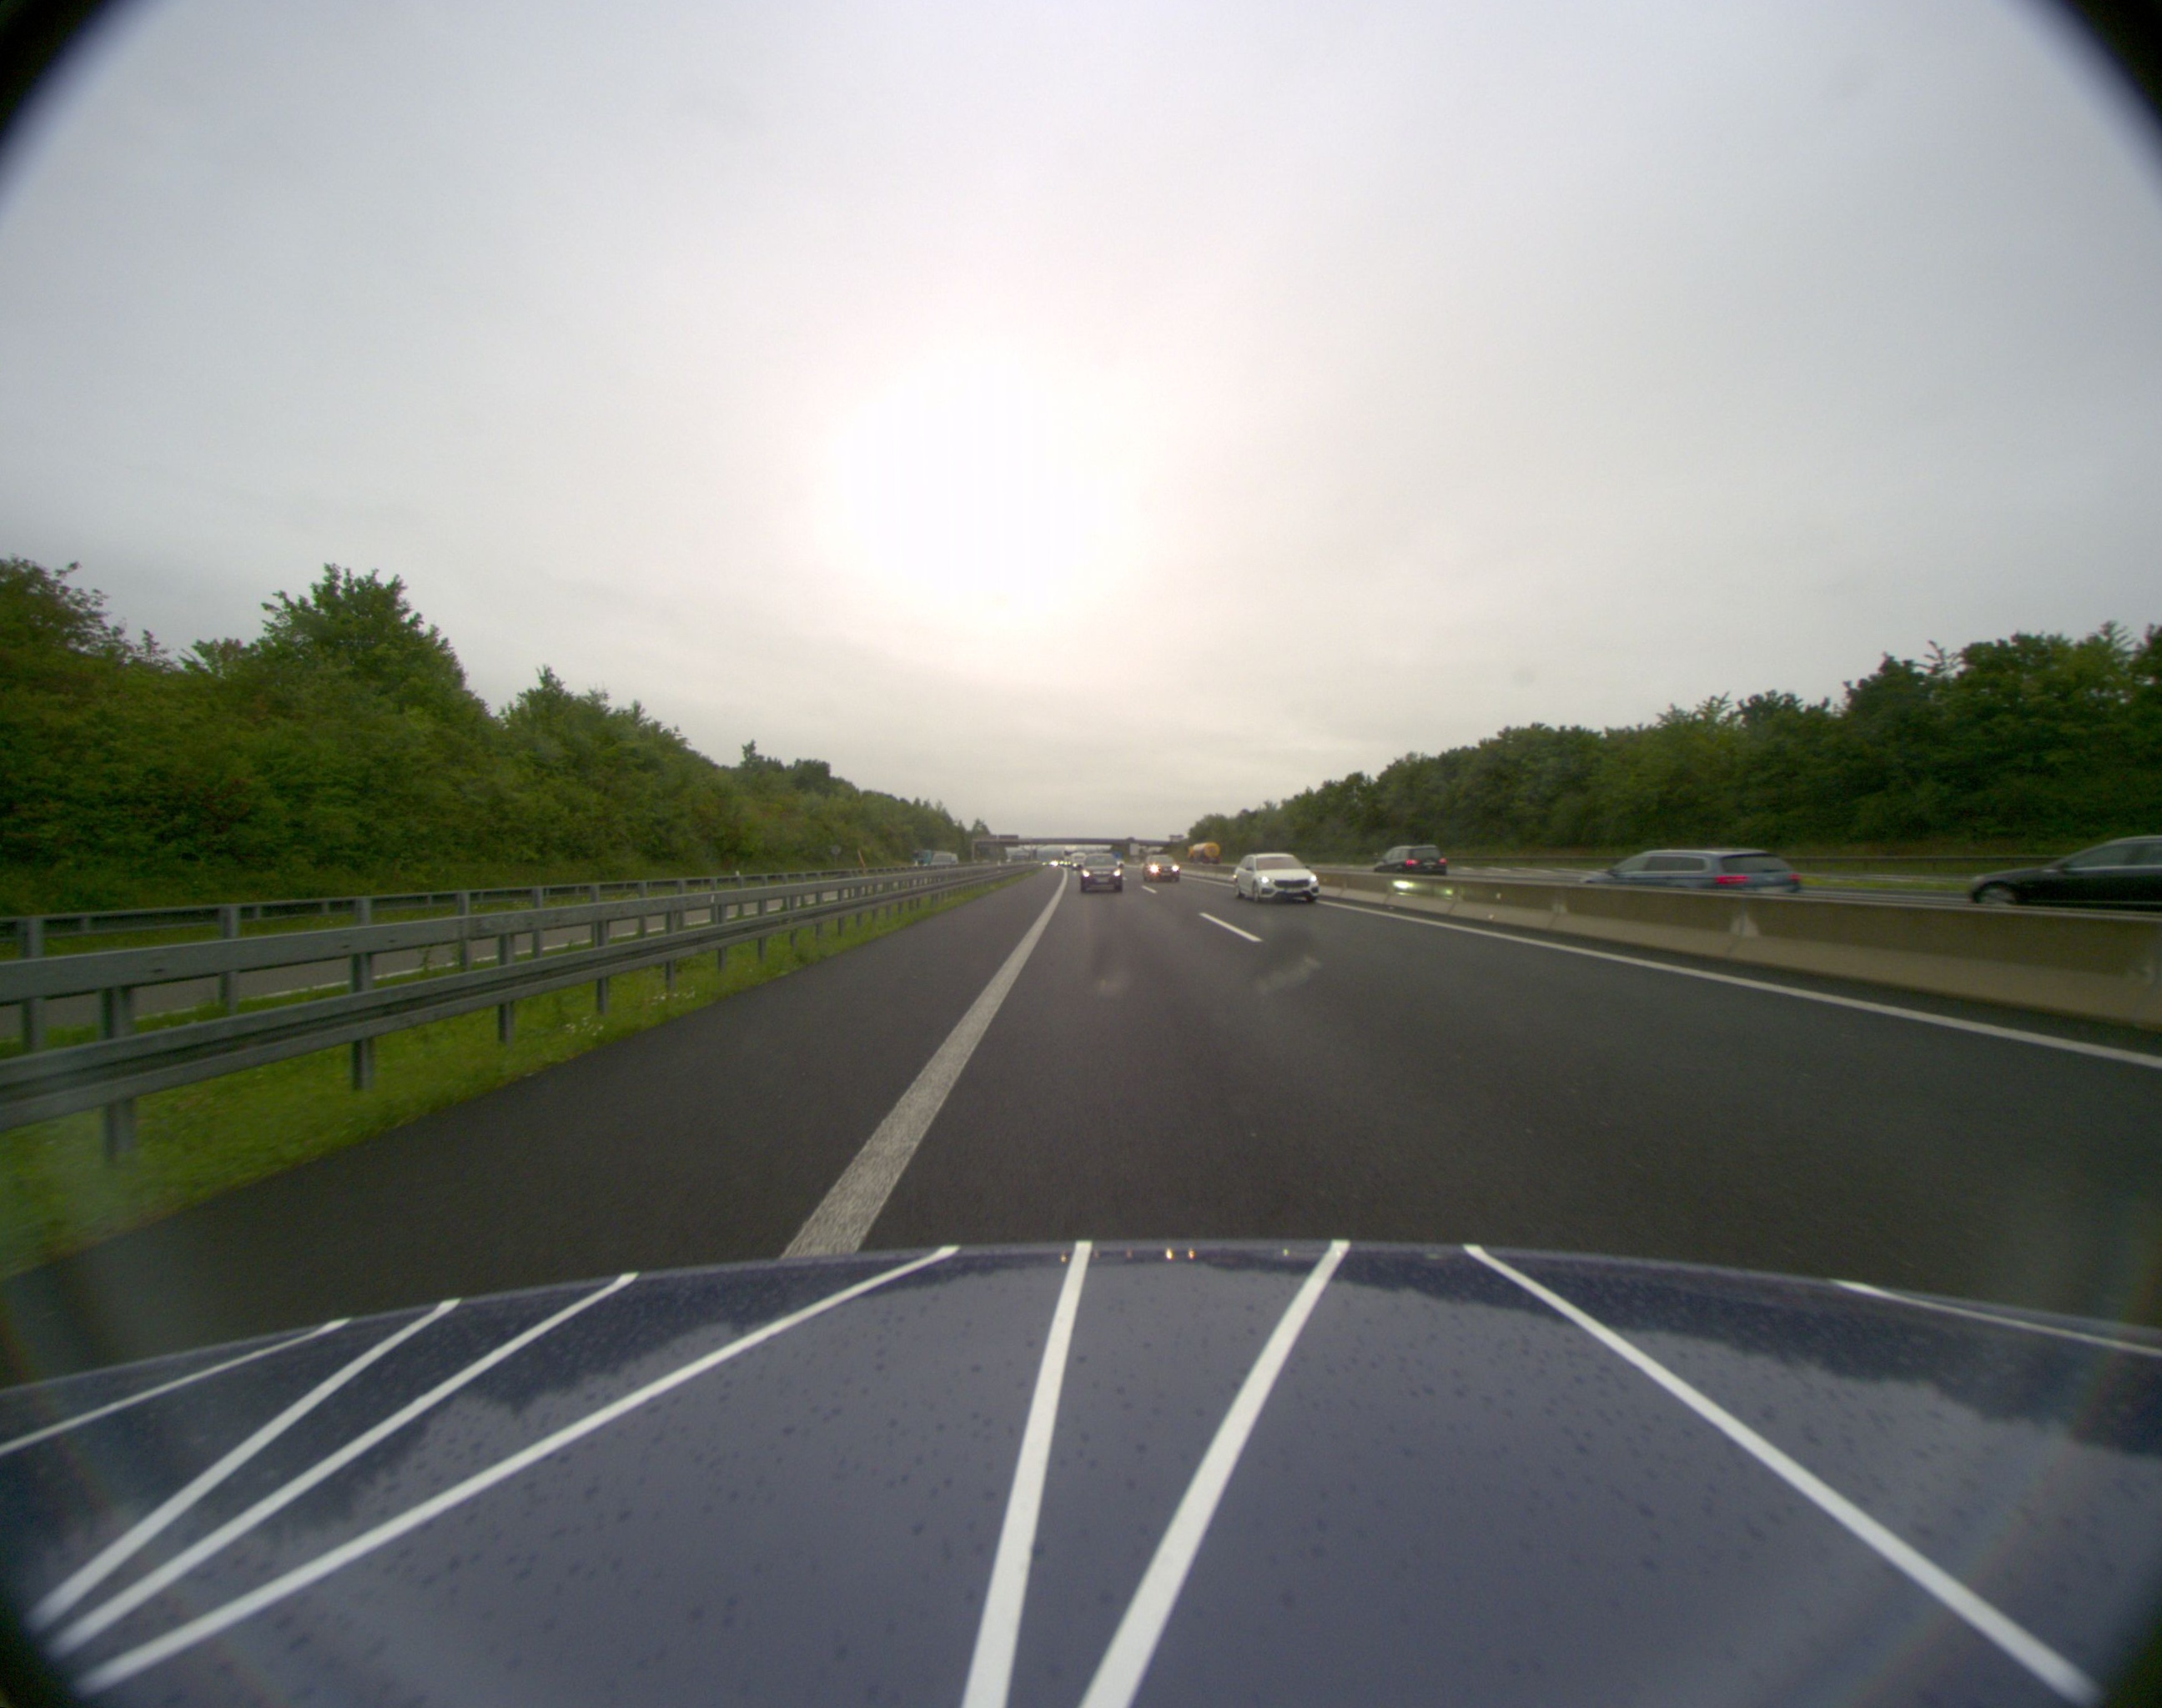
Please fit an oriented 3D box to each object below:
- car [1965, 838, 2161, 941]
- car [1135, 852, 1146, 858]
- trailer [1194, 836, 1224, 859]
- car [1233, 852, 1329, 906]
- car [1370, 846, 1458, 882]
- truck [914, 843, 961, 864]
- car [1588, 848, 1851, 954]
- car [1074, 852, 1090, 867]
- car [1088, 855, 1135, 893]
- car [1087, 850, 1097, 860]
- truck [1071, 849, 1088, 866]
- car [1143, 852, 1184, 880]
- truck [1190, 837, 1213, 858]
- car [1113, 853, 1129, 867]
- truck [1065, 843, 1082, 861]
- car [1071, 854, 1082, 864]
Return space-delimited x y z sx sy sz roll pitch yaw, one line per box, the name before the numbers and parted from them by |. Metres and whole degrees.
car | 17.982 0.540 12.393 1.987 1.605 4.421 -1 0 0
car | 17.582 0.380 224.567 2.187 1.686 4.564 -1 0 -9
trailer | 19.664 -1.019 117.614 2.768 3.378 11.446 -2 0 1
car | 6.051 0.706 23.492 1.905 1.497 4.114 -1 0 0
car | 15.068 0.420 34.704 1.987 1.497 4.637 -1 0 0
truck | -24.216 -0.129 129.166 2.906 3.397 13.365 -1 0 12
car | 13.193 0.860 16.112 1.999 1.891 4.172 -2 0 -1
car | 0.108 0.659 92.187 1.825 1.669 4.000 -1 0 1
car | 1.272 0.833 33.481 1.905 1.497 4.114 -1 0 0
car | 2.234 0.131 154.325 1.998 2.002 4.037 -1 0 1
truck | -0.208 0.438 98.953 2.175 2.214 5.642 -1 0 0
car | 4.656 0.668 43.401 1.905 1.497 4.114 -1 0 0
truck | 19.682 -1.058 124.028 2.768 3.378 5.845 -2 0 1
car | 5.089 0.712 97.636 1.716 1.724 3.999 -1 0 -2
truck | -1.549 -0.427 149.975 3.154 3.332 13.098 -1 0 -1
car | -0.807 0.857 131.929 1.716 1.724 3.999 -1 0 -2
